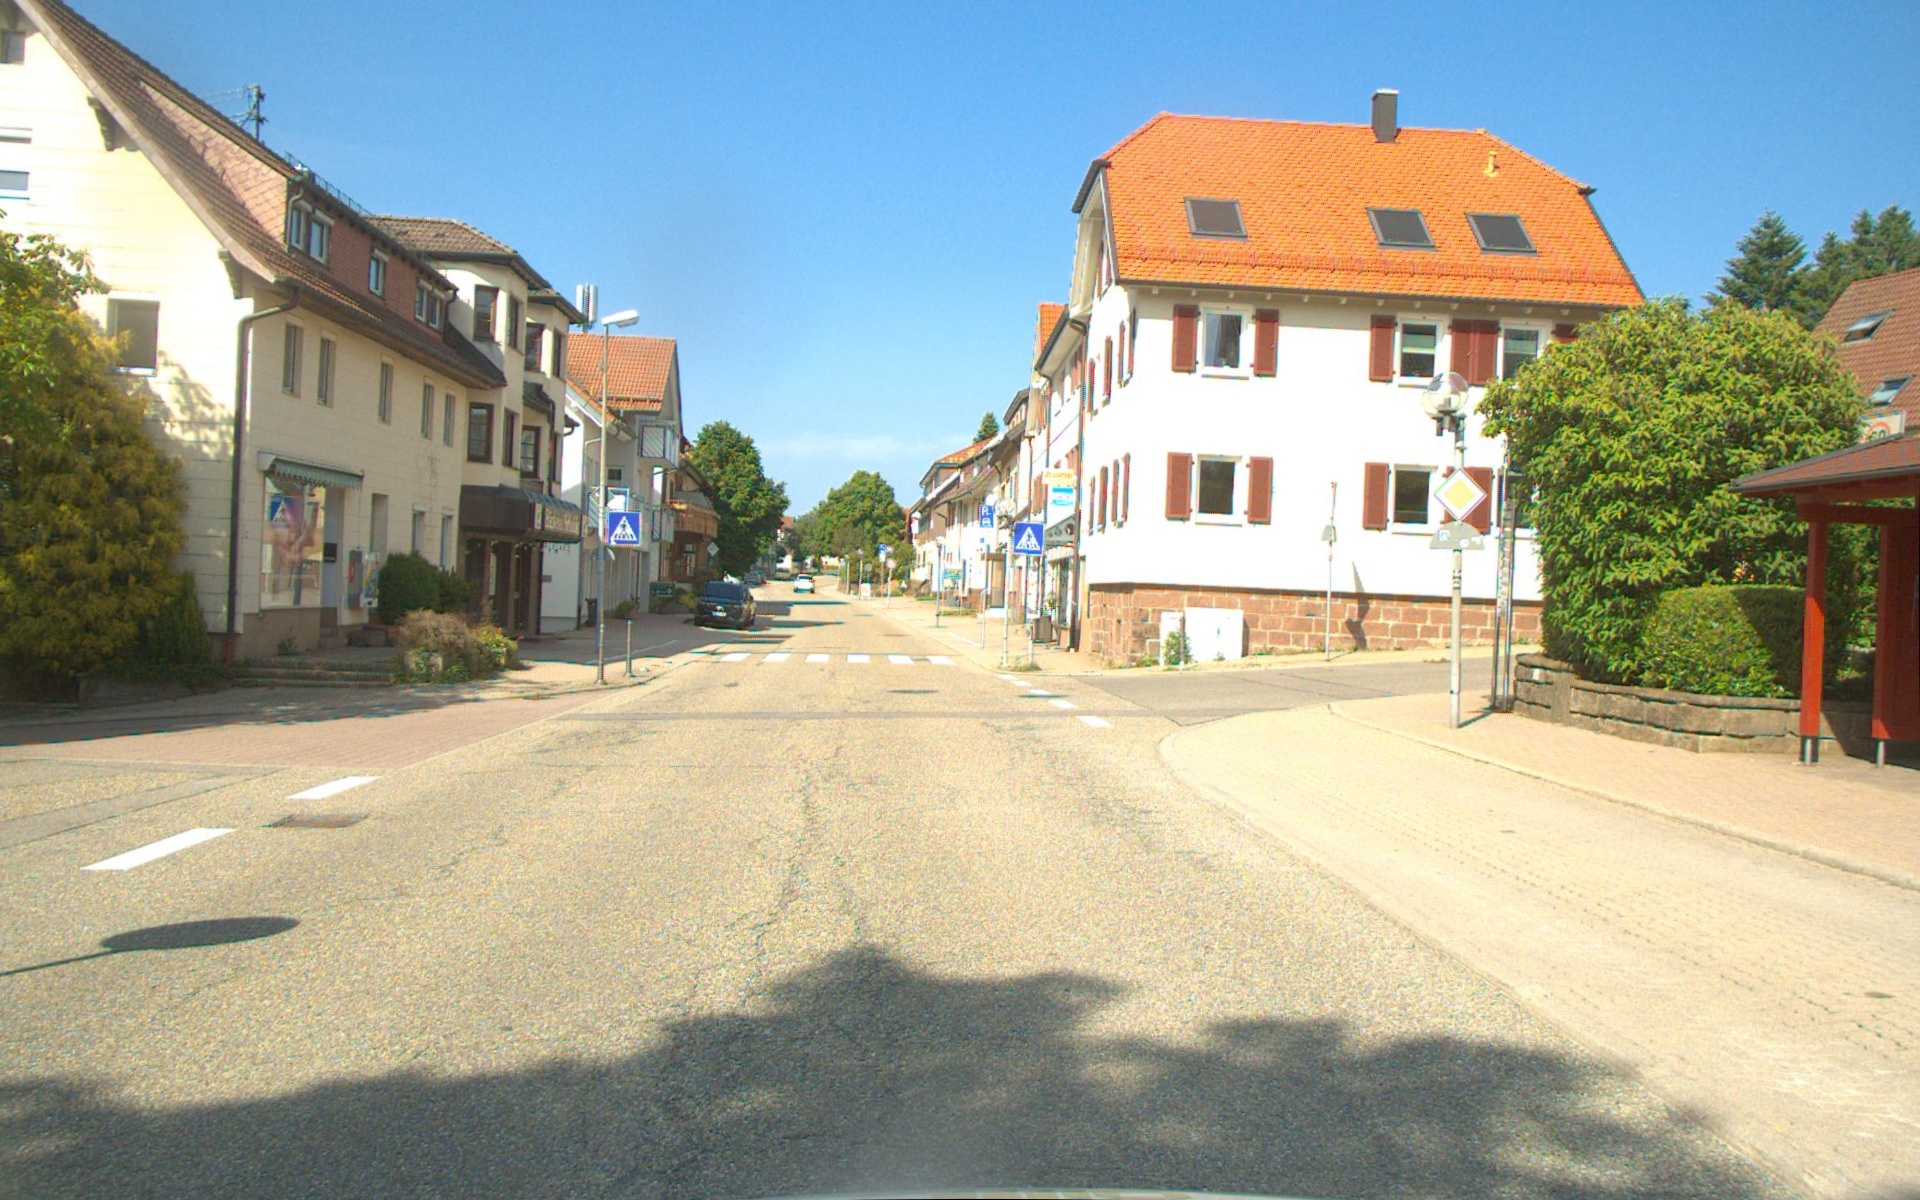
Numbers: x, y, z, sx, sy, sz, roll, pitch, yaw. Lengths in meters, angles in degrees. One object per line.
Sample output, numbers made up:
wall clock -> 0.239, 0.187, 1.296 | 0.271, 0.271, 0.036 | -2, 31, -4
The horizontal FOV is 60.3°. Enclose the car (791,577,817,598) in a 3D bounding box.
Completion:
car -> -15.158, -1.216, 161.035 | 2.447, 2.049, 4.300 | -1, 0, -5

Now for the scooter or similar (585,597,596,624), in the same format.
scooter or similar -> -12.418, 0.347, 55.562 | 0.345, 0.905, 0.394 | -1, 0, -9

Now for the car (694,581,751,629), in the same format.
car -> -8.751, 0.160, 61.173 | 1.640, 1.559, 3.533 | 5, 0, -3
